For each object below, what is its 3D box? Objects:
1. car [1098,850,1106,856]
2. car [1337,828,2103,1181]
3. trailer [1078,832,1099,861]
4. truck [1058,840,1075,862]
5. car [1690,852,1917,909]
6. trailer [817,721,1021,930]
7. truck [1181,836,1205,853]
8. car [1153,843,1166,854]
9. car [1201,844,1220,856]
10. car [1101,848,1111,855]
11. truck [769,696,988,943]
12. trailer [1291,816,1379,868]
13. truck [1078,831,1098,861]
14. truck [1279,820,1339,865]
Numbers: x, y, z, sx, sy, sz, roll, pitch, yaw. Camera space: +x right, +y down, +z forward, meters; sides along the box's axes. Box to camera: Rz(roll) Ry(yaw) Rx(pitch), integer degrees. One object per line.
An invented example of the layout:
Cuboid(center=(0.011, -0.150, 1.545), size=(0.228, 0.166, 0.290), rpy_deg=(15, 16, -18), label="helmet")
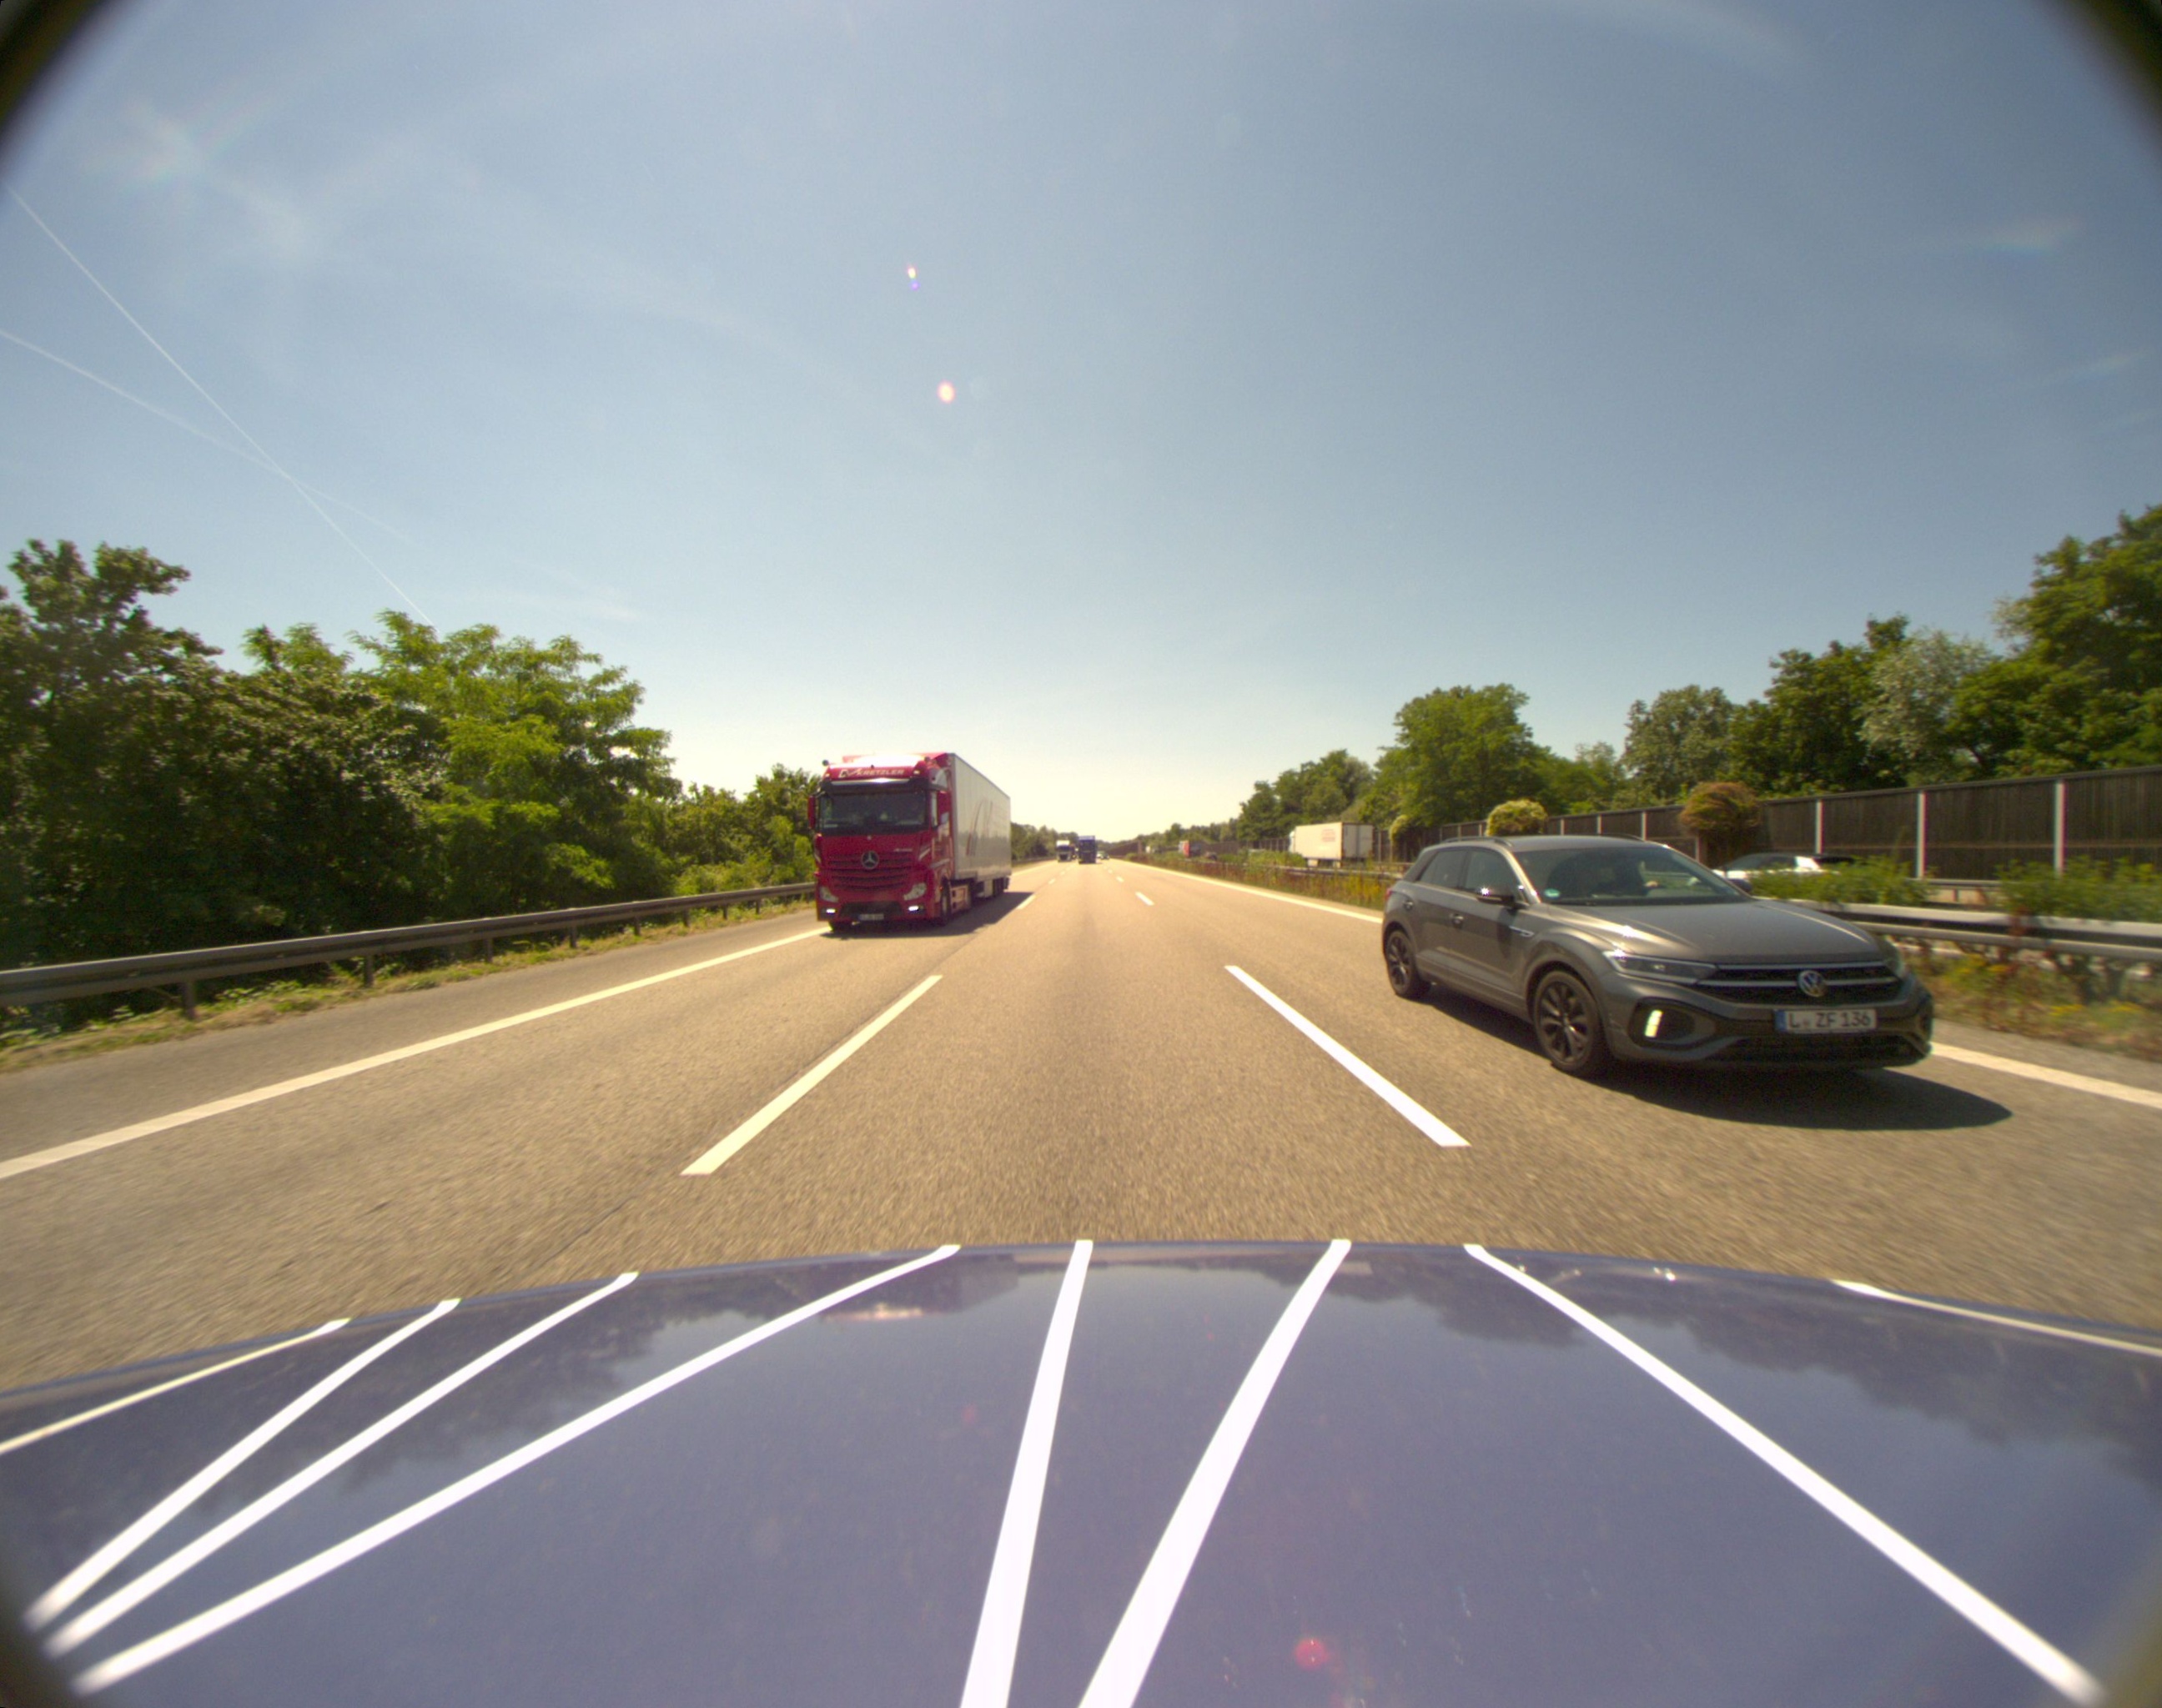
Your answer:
Cuboid(center=(5.645, -0.155, 203.369), size=(1.855, 1.559, 4.000), rpy_deg=(-2, 0, 1), label="car")
Cuboid(center=(3.878, 0.729, 6.104), size=(1.885, 1.630, 5.008), rpy_deg=(-1, 0, -1), label="car")
Cuboid(center=(1.251, -1.093, 116.286), size=(2.707, 4.093, 12.133), rpy_deg=(-2, 0, 2), label="trailer")
Cuboid(center=(-2.670, -0.535, 145.876), size=(2.820, 4.139, 10.448), rpy_deg=(-2, 0, 0), label="truck")
Cuboid(center=(17.093, 0.573, 18.286), size=(1.630, 1.149, 4.079), rpy_deg=(-1, 1, 1), label="car")
Cuboid(center=(-4.358, -0.637, 24.884), size=(3.277, 4.809, 14.030), rpy_deg=(-2, 0, 1), label="trailer")
Cuboid(center=(23.550, -1.966, 161.207), size=(2.845, 3.322, 17.005), rpy_deg=(-2, 0, 1), label="truck")
Cuboid(center=(19.653, -1.342, 191.177), size=(2.321, 2.548, 7.584), rpy_deg=(-5, 0, 1), label="car")
Cuboid(center=(18.293, -0.568, 107.547), size=(1.998, 1.587, 4.506), rpy_deg=(0, 0, 1), label="car")
Cuboid(center=(5.456, -0.559, 163.305), size=(2.045, 1.559, 4.000), rpy_deg=(-2, 0, 1), label="car")
Cuboid(center=(-4.491, -0.679, 18.721), size=(3.242, 4.860, 6.972), rpy_deg=(-2, 0, 1), label="truck")
Cuboid(center=(21.896, -1.017, 66.520), size=(3.619, 4.080, 12.795), rpy_deg=(0, 0, 1), label="trailer")
Cuboid(center=(1.041, -1.105, 109.236), size=(2.707, 4.093, 6.991), rpy_deg=(-2, 0, 1), label="truck")
Cuboid(center=(22.005, -1.072, 73.903), size=(3.590, 4.080, 7.838), rpy_deg=(0, 1, 1), label="truck")
